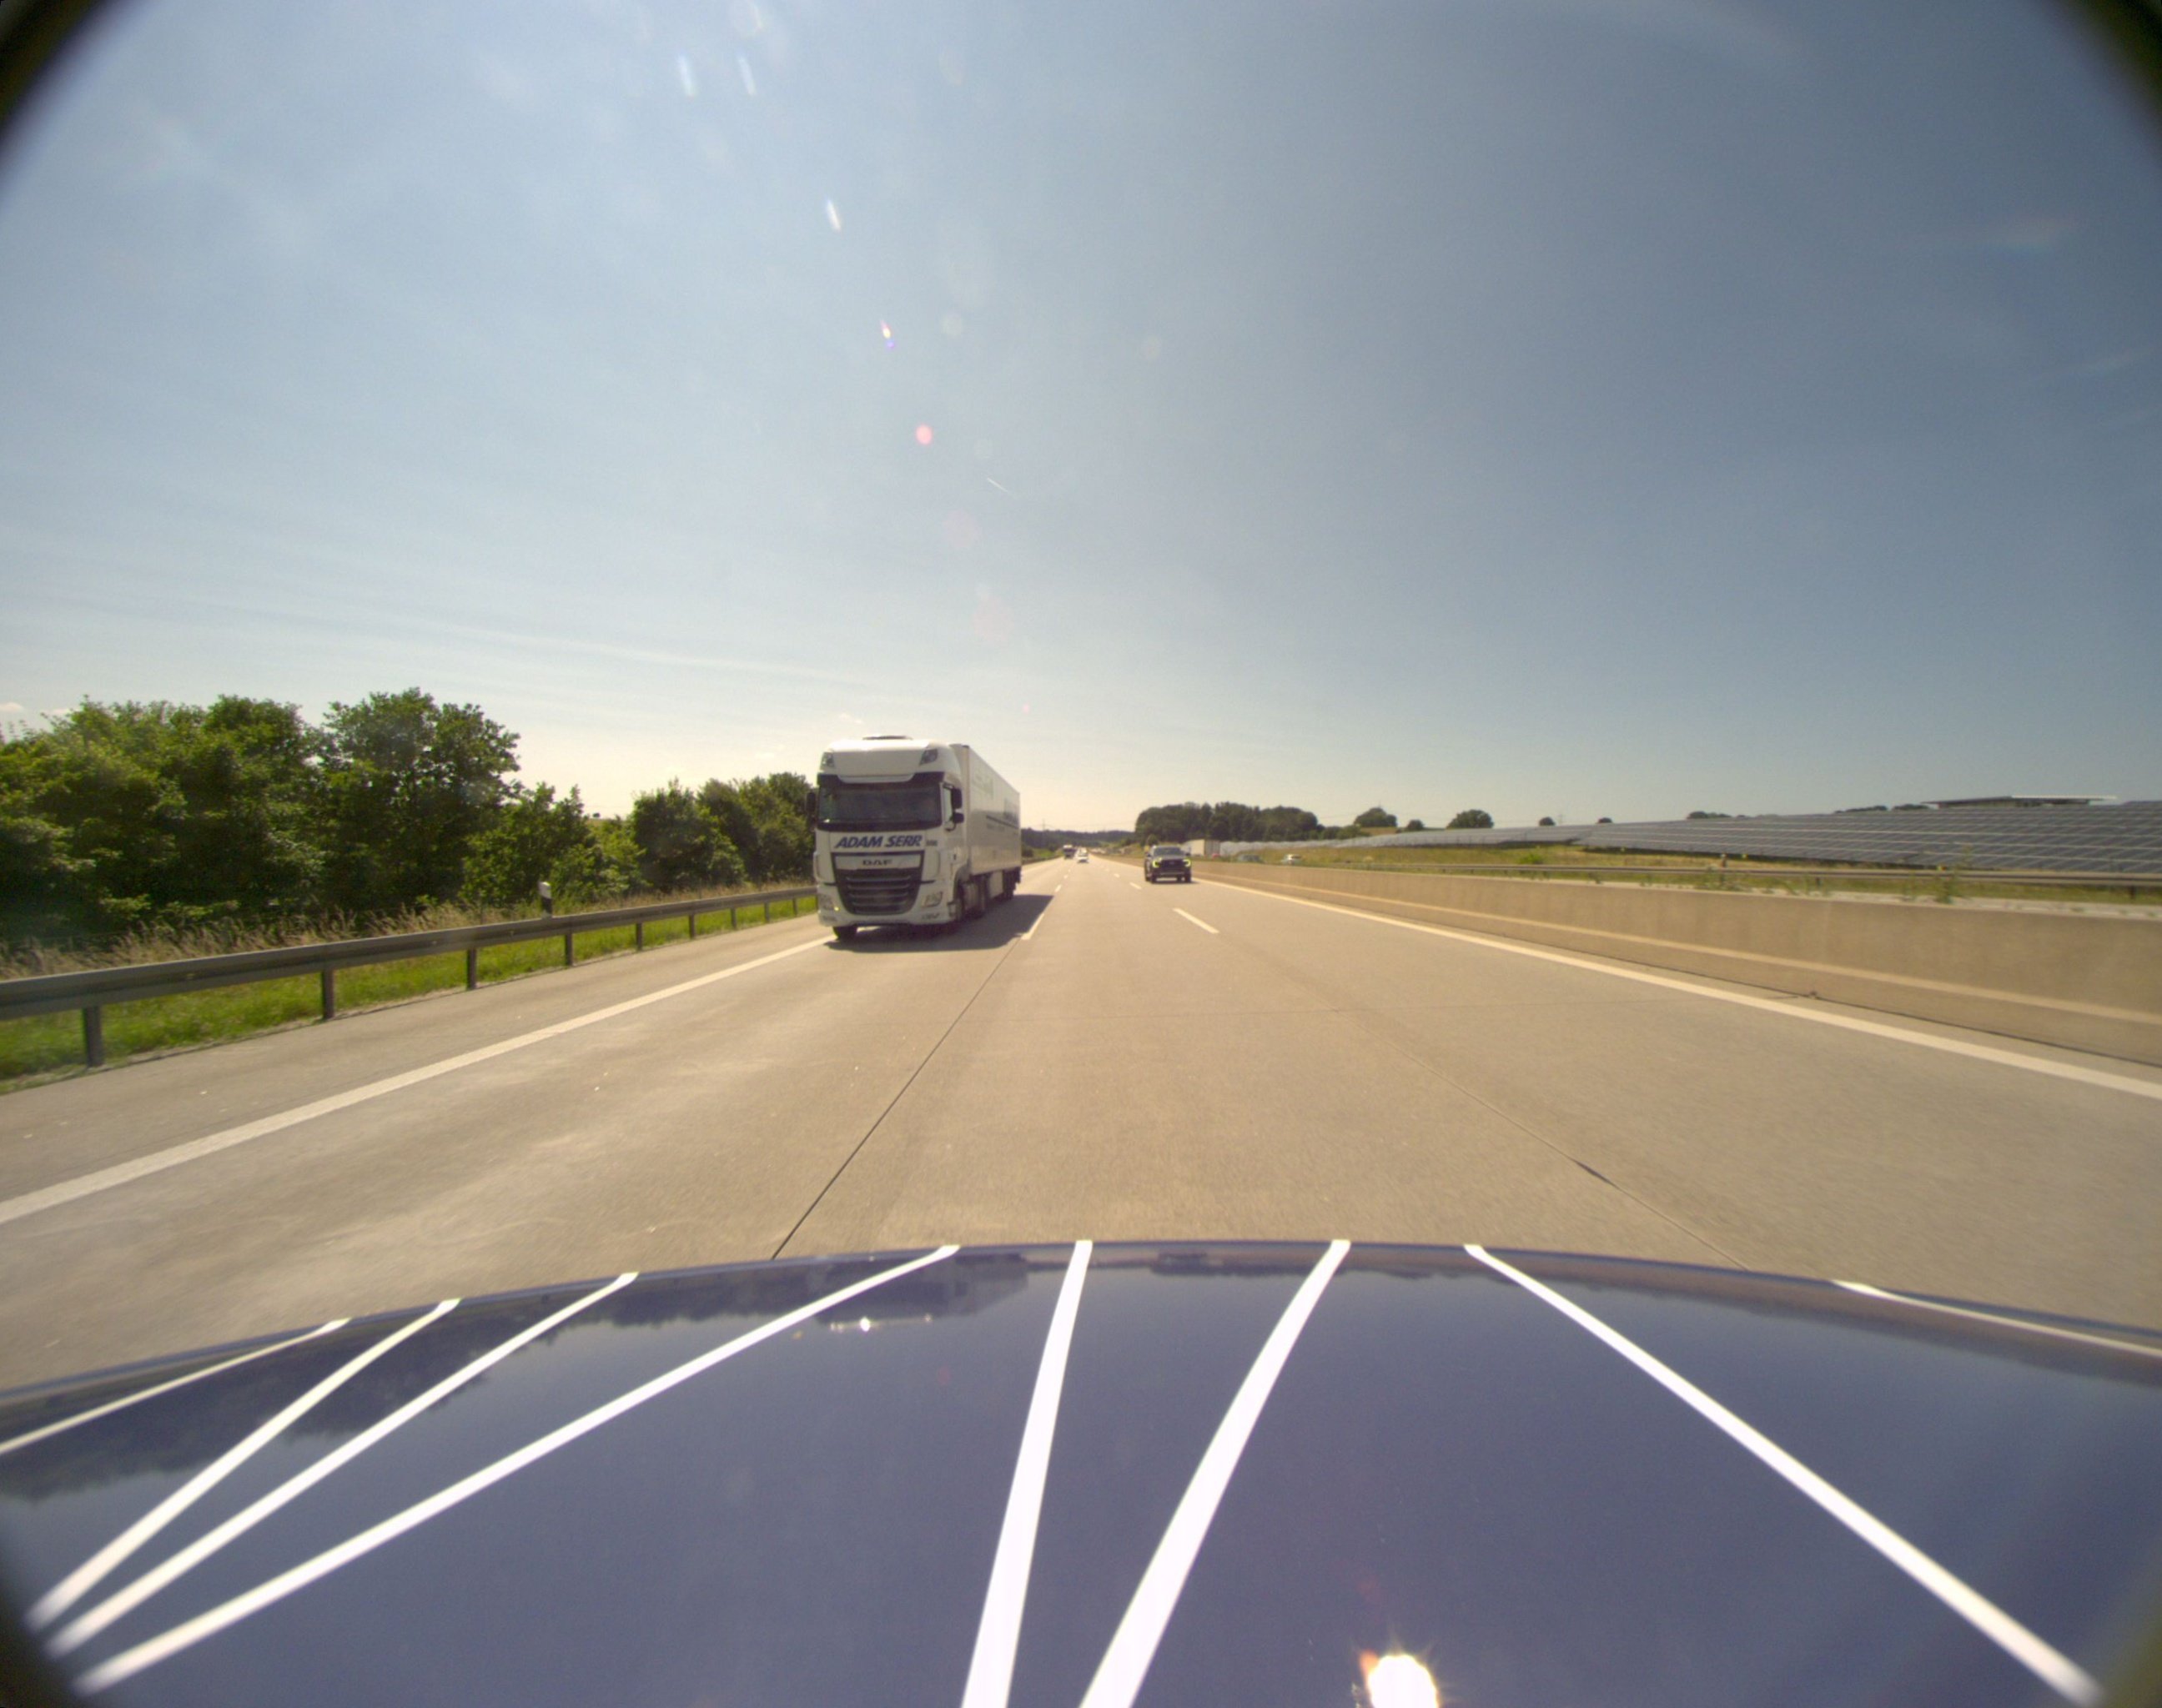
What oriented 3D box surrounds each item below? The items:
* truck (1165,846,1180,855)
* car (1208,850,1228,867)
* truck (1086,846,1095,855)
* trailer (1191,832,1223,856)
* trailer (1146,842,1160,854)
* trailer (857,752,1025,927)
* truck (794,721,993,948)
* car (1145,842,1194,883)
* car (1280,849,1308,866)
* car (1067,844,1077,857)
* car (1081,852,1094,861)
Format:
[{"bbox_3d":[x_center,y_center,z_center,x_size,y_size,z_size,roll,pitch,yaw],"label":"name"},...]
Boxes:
[{"bbox_3d":[21.617,-0.926,180.254,2.523,2.002,7.629,-2,1,0],"label":"truck"},{"bbox_3d":[17.352,0.594,96.468,1.804,2.002,3.999,-2,1,0],"label":"car"},{"bbox_3d":[2.577,-0.934,207.350,2.263,2.461,6.614,-1,0,0],"label":"truck"},{"bbox_3d":[21.748,-1.738,131.841,3.098,3.981,14.138,-2,1,0],"label":"trailer"},{"bbox_3d":[21.793,-1.730,231.257,2.939,3.530,14.017,1,1,0],"label":"trailer"},{"bbox_3d":[-3.740,-0.372,24.131,2.860,4.019,12.711,-1,0,0],"label":"trailer"},{"bbox_3d":[-3.750,-0.369,16.758,2.819,4.064,5.797,-1,1,0],"label":"truck"},{"bbox_3d":[4.368,0.362,38.491,1.998,1.836,6.530,-2,1,3],"label":"car"},{"bbox_3d":[20.568,0.334,73.483,1.630,1.474,3.999,-2,1,0],"label":"car"},{"bbox_3d":[-2.764,-1.075,227.053,2.766,4.029,10.851,0,1,0],"label":"car"},{"bbox_3d":[1.020,0.412,123.734,2.065,1.472,5.068,-1,0,0],"label":"car"}]
